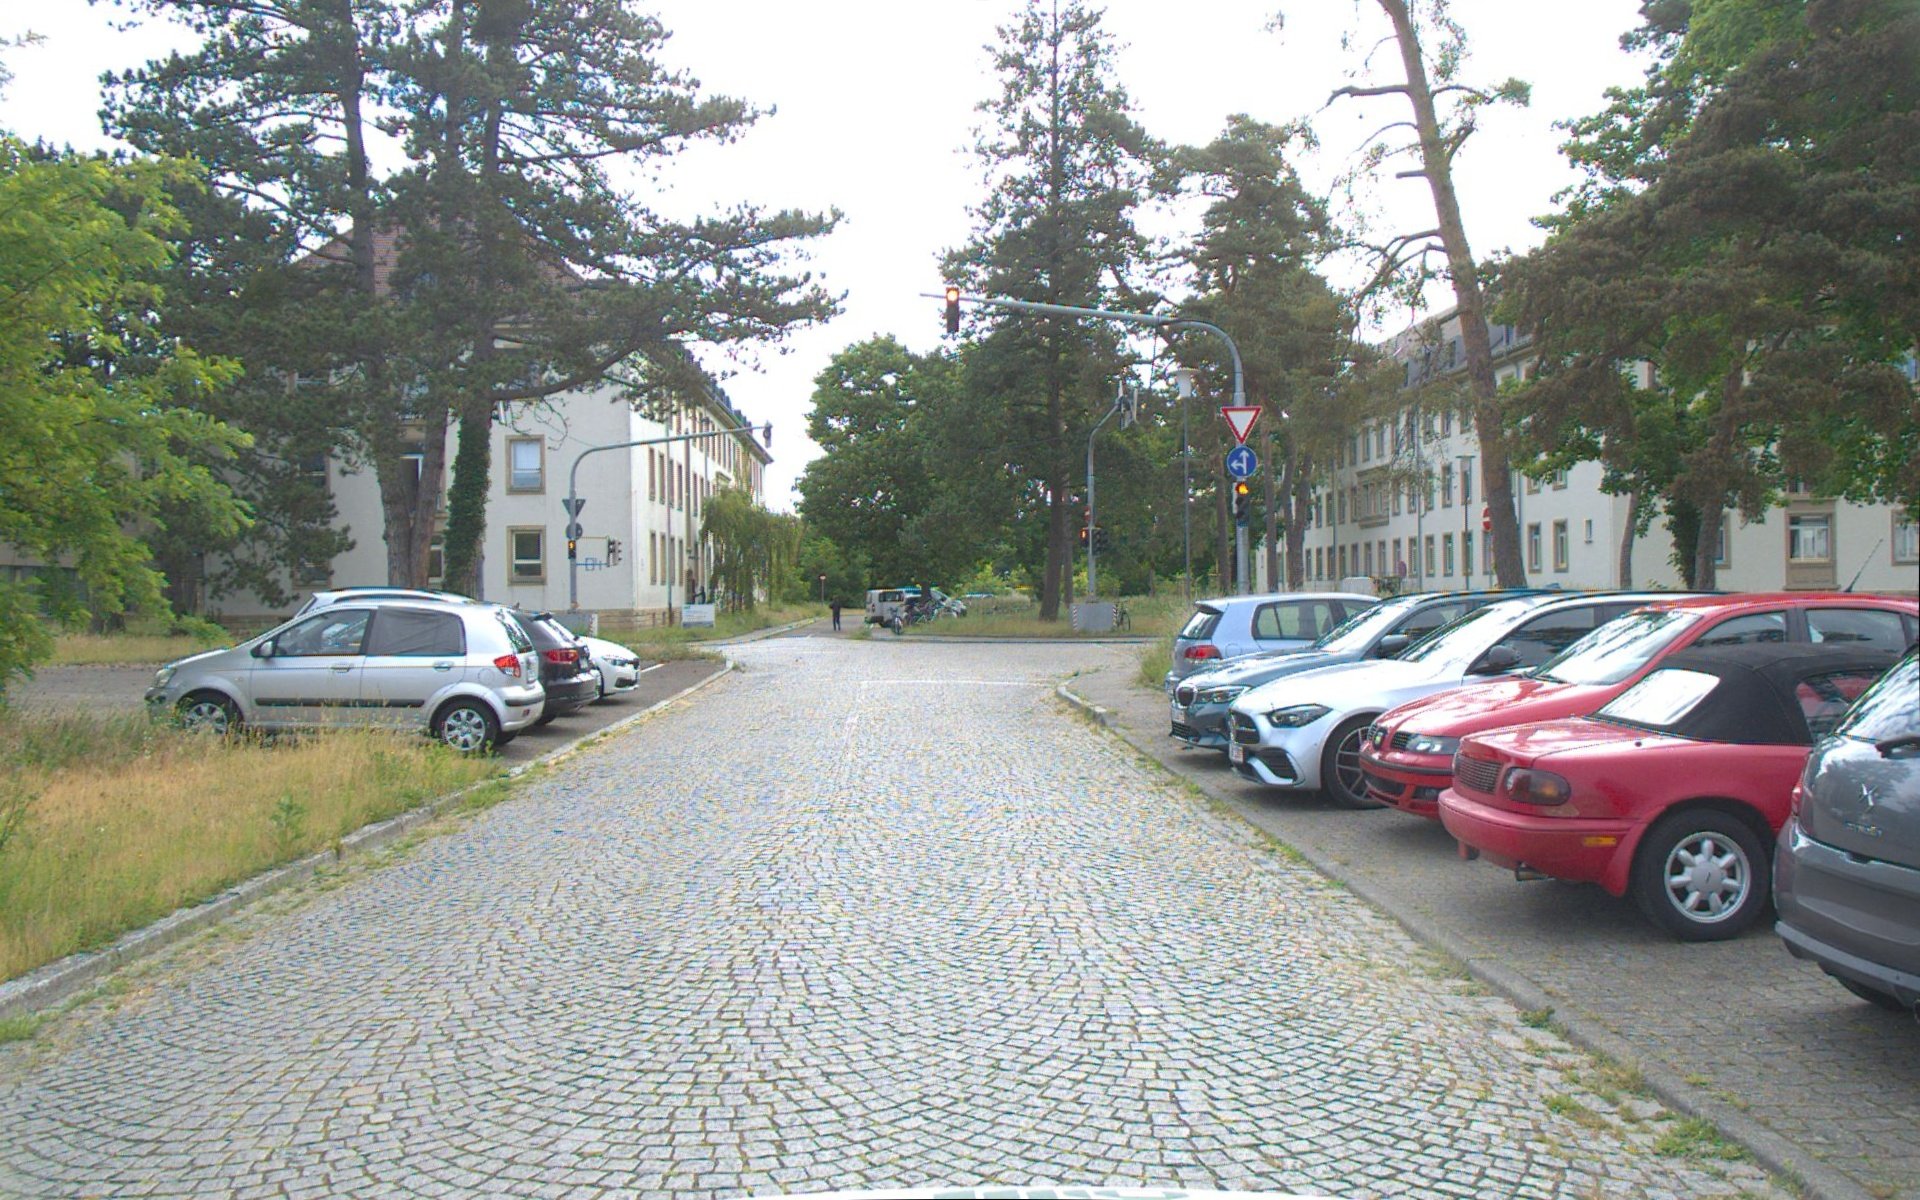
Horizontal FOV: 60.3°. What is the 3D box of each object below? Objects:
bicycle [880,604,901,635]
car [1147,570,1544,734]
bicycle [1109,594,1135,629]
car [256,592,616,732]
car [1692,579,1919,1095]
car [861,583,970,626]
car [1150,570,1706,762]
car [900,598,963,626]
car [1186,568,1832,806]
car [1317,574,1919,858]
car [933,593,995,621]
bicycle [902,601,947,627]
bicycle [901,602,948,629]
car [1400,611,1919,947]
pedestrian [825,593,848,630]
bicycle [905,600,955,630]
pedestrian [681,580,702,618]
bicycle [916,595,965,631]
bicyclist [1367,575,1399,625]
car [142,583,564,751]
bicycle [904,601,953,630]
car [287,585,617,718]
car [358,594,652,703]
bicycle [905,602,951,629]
[{"bbox_3d":[-2.652,0.727,63.236,0.592,1.152,1.958,-1,0,-8],"label":"bicycle"},{"bbox_3d":[4.065,0.531,17.866,3.847,1.503,1.642,-3,0,-1],"label":"car"},{"bbox_3d":[5.345,0.386,54.679,0.574,1.125,1.960,-1,0,-2],"label":"bicycle"},{"bbox_3d":[-5.979,0.697,19.205,3.673,1.453,1.581,2,0,-6],"label":"car"},{"bbox_3d":[4.675,0.622,5.368,3.786,1.497,1.757,-3,0,-4],"label":"car"},{"bbox_3d":[-2.311,0.215,84.546,5.266,1.958,2.019,-2,0,-12],"label":"car"},{"bbox_3d":[4.238,0.561,15.421,4.590,1.441,1.869,-3,0,-5],"label":"car"},{"bbox_3d":[-1.404,0.576,81.157,2.949,1.290,1.532,-1,0,-8],"label":"car"},{"bbox_3d":[4.135,0.593,12.728,4.344,1.441,1.866,-3,0,-12],"label":"car"},{"bbox_3d":[4.591,0.644,10.479,4.177,1.441,1.870,-3,0,-3],"label":"car"},{"bbox_3d":[0.214,0.371,88.542,3.169,1.441,1.723,-1,0,-5],"label":"car"},{"bbox_3d":[-1.592,0.624,73.639,1.932,1.088,0.583,-1,0,-27],"label":"bicycle"},{"bbox_3d":[-1.459,0.644,68.606,1.936,1.088,0.581,-1,0,-33],"label":"bicycle"},{"bbox_3d":[4.286,0.737,7.980,3.786,1.257,1.757,-3,0,-4],"label":"car"},{"bbox_3d":[-5.569,0.540,74.665,0.732,1.647,0.767,-1,0,-35],"label":"pedestrian"},{"bbox_3d":[-1.208,0.596,66.500,1.919,1.152,0.587,-1,0,-10],"label":"bicycle"},{"bbox_3d":[-13.285,-0.046,81.703,0.767,1.869,0.732,-1,0,-34],"label":"pedestrian"},{"bbox_3d":[-0.800,0.529,67.984,1.919,1.408,0.587,-1,0,-10],"label":"bicycle"},{"bbox_3d":[12.317,0.001,48.193,0.734,1.435,0.605,-1,0,-2],"label":"bicyclist"},{"bbox_3d":[-5.970,0.647,16.607,3.631,1.505,1.581,2,0,-6],"label":"car"},{"bbox_3d":[-1.295,0.620,67.130,1.919,1.136,0.587,-1,0,-10],"label":"bicycle"},{"bbox_3d":[-6.642,0.664,21.962,3.871,1.590,1.648,2,0,-6],"label":"car"},{"bbox_3d":[-6.656,0.695,24.499,3.869,1.446,1.649,2,0,-3],"label":"car"},{"bbox_3d":[-1.364,0.642,69.961,1.936,1.088,0.581,-1,0,-33],"label":"bicycle"}]
